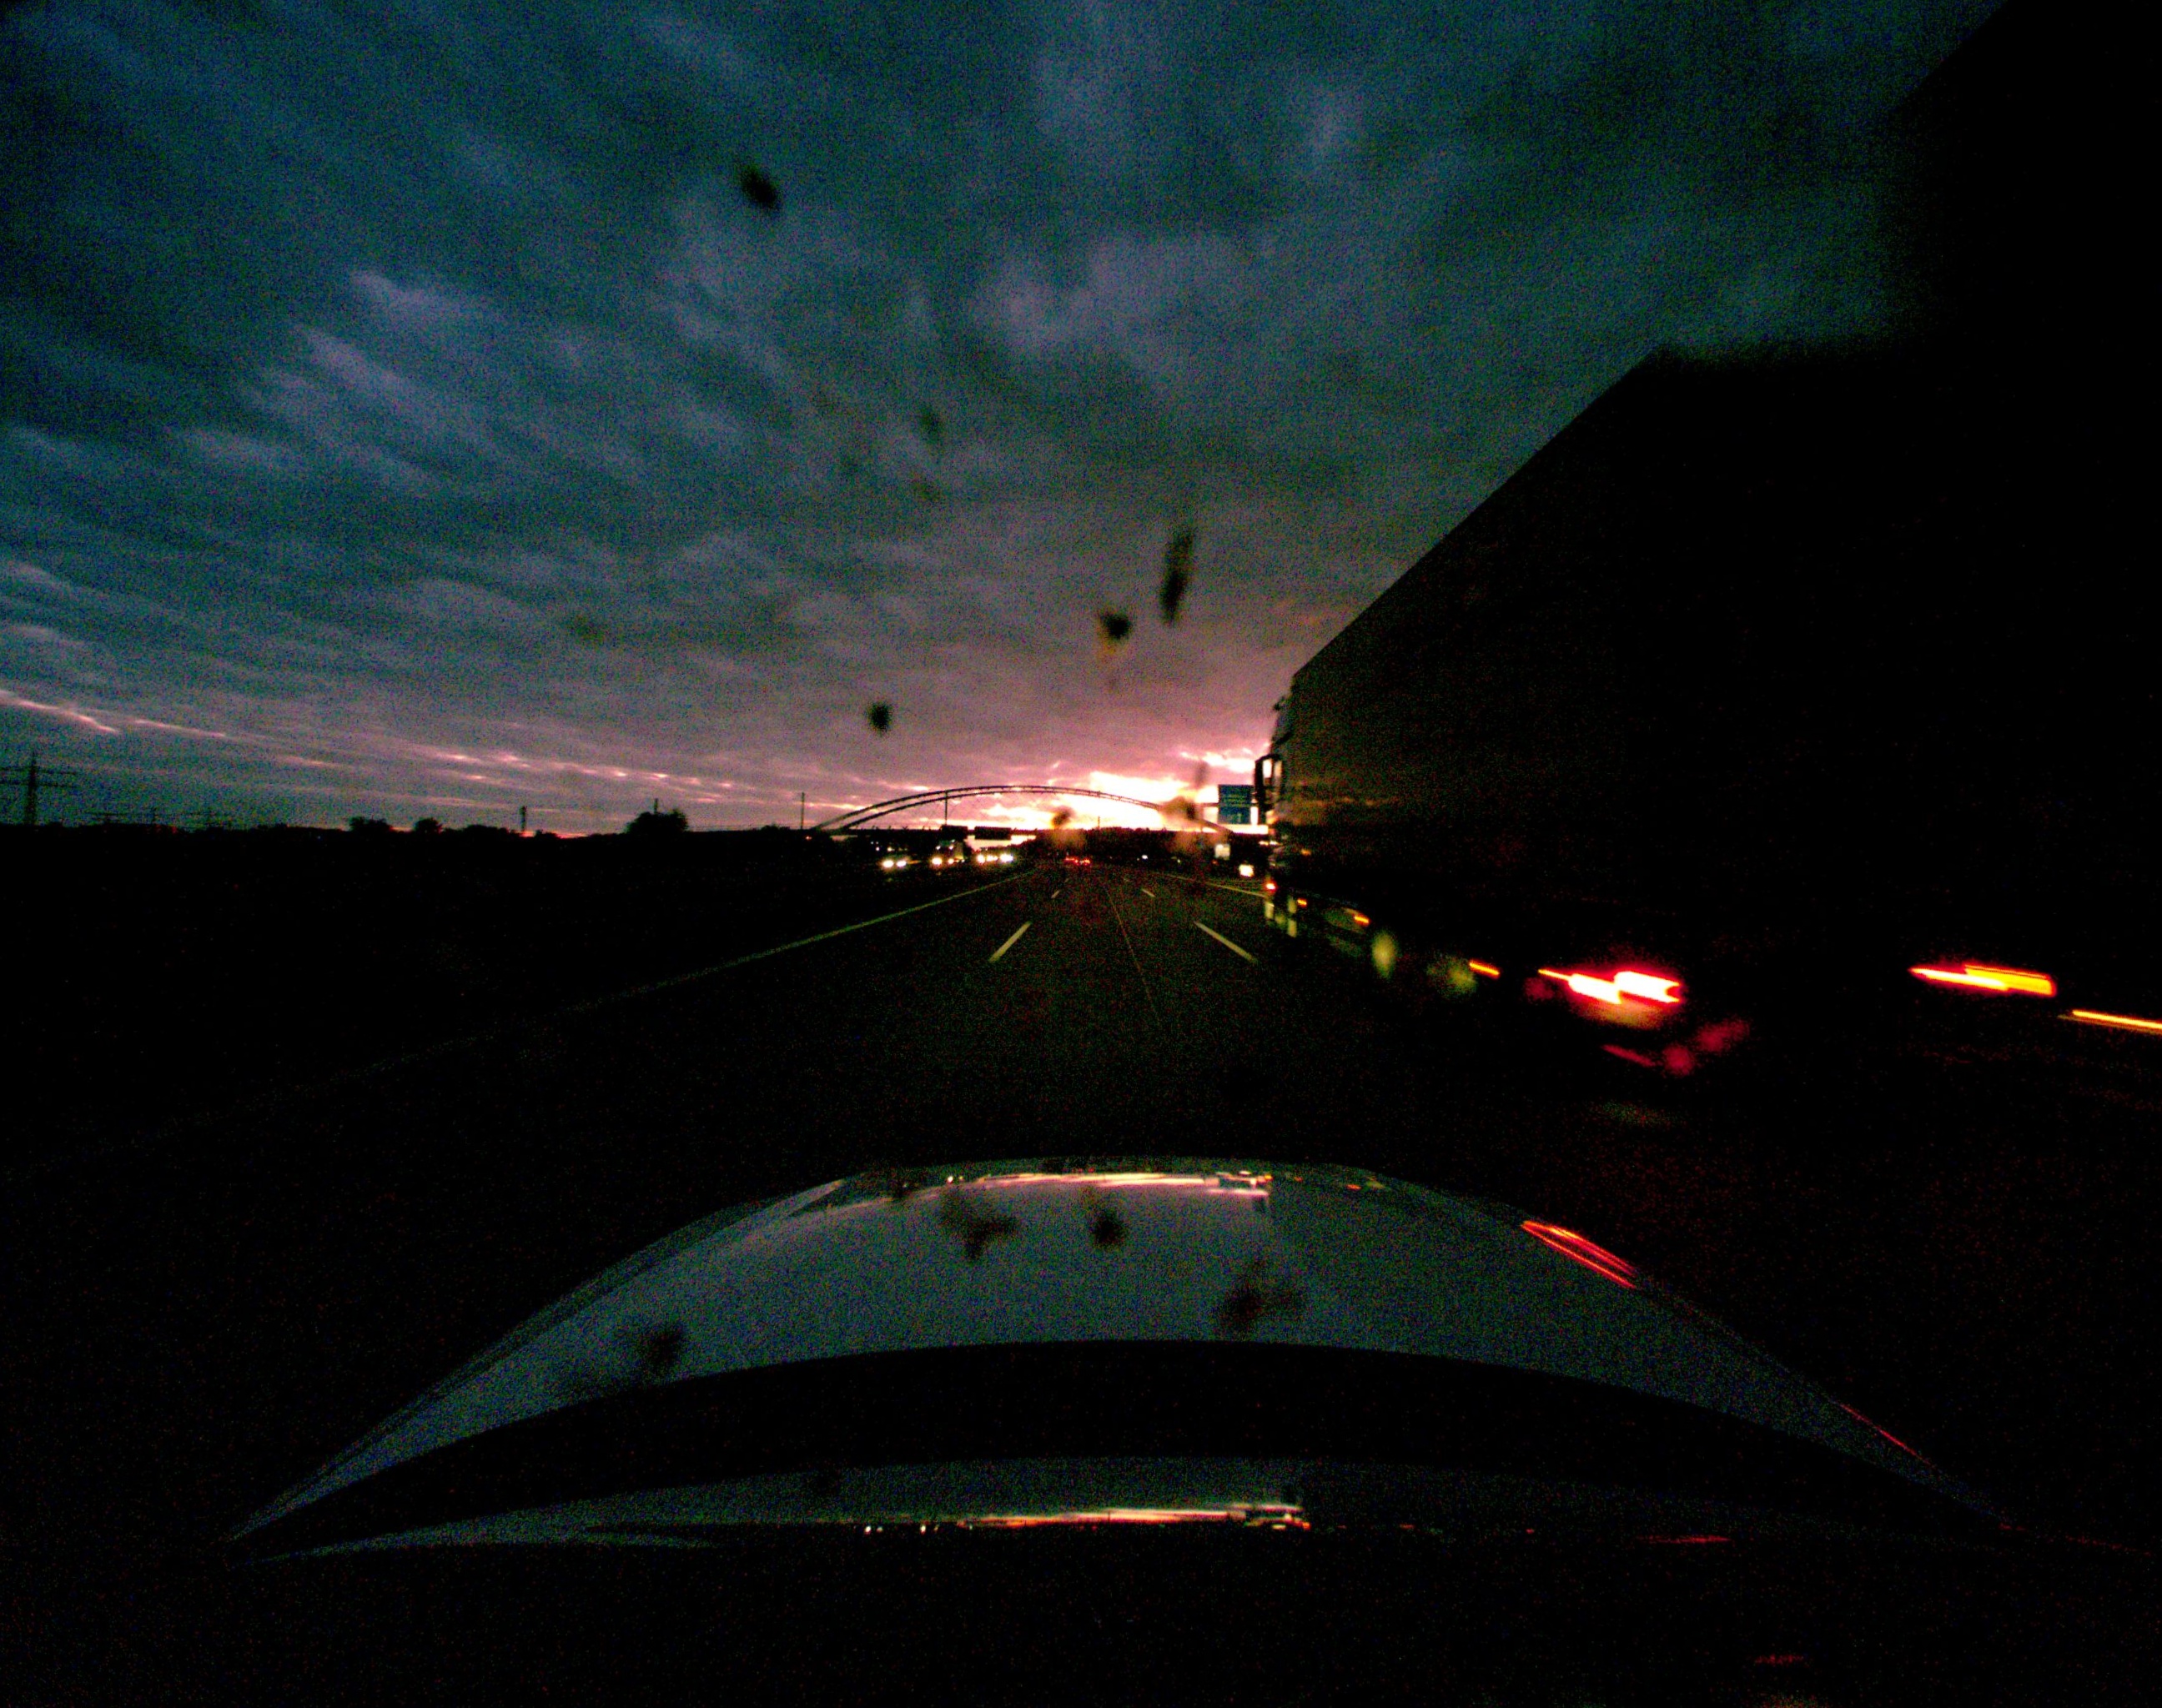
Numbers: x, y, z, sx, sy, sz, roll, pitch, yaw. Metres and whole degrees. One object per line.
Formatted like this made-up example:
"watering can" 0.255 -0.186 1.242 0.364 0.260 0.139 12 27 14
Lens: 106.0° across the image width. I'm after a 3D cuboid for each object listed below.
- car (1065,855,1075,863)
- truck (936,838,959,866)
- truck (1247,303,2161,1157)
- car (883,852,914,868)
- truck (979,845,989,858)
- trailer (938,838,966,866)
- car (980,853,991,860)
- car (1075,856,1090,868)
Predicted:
"car" -2.116 0.986 159.624 1.682 1.401 3.412 -1 -2 4
"truck" -21.648 -0.308 132.300 2.817 4.507 6.240 -1 0 -2
"truck" 4.181 -0.601 9.175 2.680 4.071 10.523 -1 0 1
"car" -19.659 0.589 87.862 1.986 1.625 4.846 -1 0 2
"truck" -30.799 -0.857 259.115 2.820 4.048 12.194 -1 0 -5
"trailer" -21.862 -0.346 138.899 2.817 4.507 14.617 -1 0 -2
"car" -20.158 0.508 171.853 1.988 1.404 4.327 -1 0 -1
"car" 0.192 0.980 99.569 1.686 1.401 3.404 -1 -1 -3
